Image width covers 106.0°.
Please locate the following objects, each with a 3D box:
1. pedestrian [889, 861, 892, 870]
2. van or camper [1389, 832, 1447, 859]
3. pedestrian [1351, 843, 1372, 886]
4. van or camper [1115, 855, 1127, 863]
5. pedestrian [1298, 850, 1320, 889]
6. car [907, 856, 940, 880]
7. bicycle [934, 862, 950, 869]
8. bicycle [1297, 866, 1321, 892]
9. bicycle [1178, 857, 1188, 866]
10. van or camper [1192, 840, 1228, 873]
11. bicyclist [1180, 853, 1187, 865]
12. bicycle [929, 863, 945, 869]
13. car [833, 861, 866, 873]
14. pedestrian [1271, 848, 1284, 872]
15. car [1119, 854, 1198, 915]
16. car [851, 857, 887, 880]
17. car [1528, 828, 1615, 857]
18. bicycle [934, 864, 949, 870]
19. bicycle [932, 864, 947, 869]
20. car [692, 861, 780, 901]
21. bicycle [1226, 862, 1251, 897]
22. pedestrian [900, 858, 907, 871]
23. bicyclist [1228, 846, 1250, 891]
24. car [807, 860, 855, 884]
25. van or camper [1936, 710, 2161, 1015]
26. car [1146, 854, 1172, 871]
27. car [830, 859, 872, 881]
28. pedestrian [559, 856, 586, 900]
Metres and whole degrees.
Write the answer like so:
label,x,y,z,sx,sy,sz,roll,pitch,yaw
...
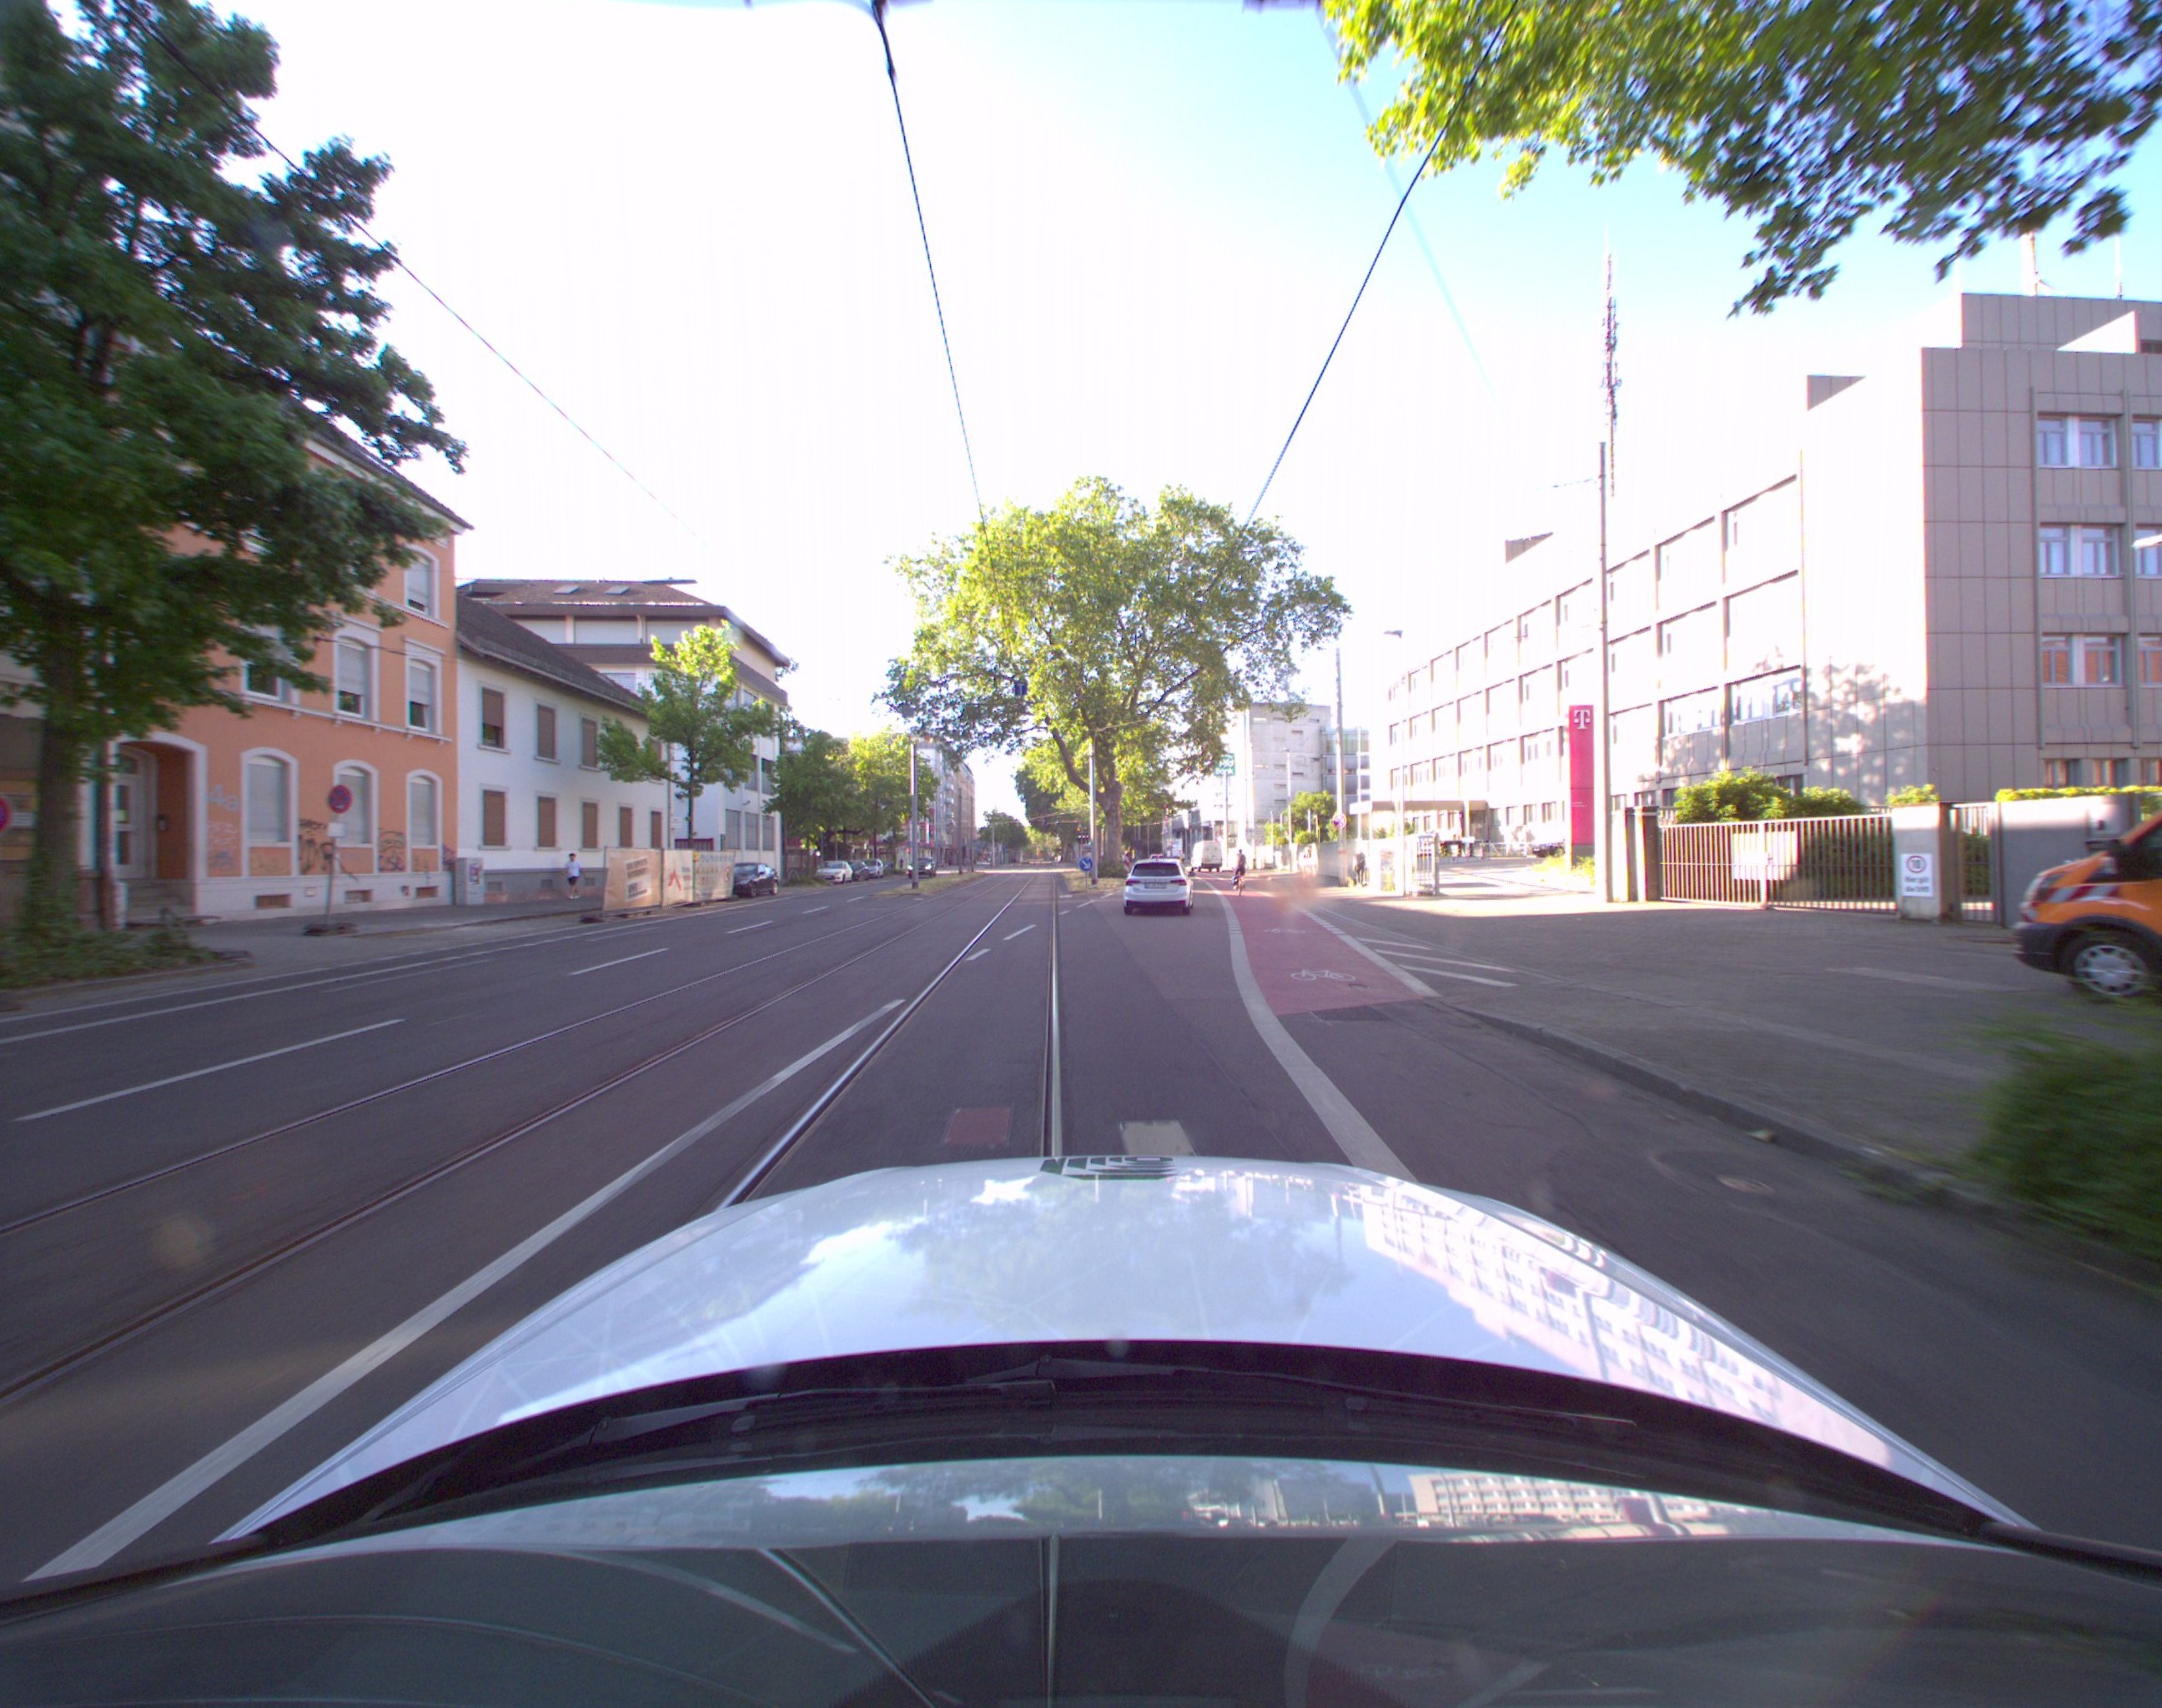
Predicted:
label,x,y,z,sx,sy,sz,roll,pitch,yaw
pedestrian,-25.255,1.502,107.745,0.303,1.214,0.318,-2,0,-8
van or camper,24.934,-0.599,60.449,1.976,1.909,4.994,-2,0,-3
pedestrian,11.207,0.411,32.572,0.691,1.684,0.934,-1,0,14
van or camper,9.724,1.166,198.857,2.142,1.750,4.423,-2,0,-5
pedestrian,9.718,0.645,34.702,0.666,1.619,1.104,-3,-1,6
car,-12.123,1.047,62.947,1.990,1.689,4.303,-1,0,-5
bicycle,-20.543,1.707,120.427,2.166,0.951,0.491,-1,0,-6
bicycle,9.684,1.038,34.582,0.671,1.032,1.905,-3,0,8
bicycle,13.527,0.973,107.742,0.791,1.161,2.496,-1,0,-4
van or camper,11.248,0.196,71.236,2.260,2.733,6.349,1,0,2
bicyclist,13.517,0.651,107.907,0.784,1.635,0.638,-1,0,-5
bicycle,-20.781,1.773,117.651,2.166,0.787,0.639,-1,0,-6
car,-30.062,1.675,105.694,3.993,1.464,1.793,-2,0,-14
pedestrian,14.686,0.432,60.889,0.781,1.748,0.774,-2,0,8
car,2.199,0.752,22.189,1.791,1.501,3.992,0,0,10
car,-16.877,1.137,65.051,1.990,1.689,4.171,-1,0,-5
car,30.356,-0.695,50.493,4.242,1.718,1.991,-1,0,-4
bicycle,-20.469,1.860,119.786,2.166,0.824,0.527,-1,0,-6
bicycle,-20.555,1.827,118.424,2.166,0.787,0.491,-1,0,-6
car,-14.764,1.113,35.135,1.989,1.513,4.719,-1,0,-4
bicycle,5.878,0.913,30.394,0.740,1.224,2.160,1,0,7
pedestrian,-23.209,1.347,106.365,0.708,1.662,1.031,-2,0,-7
bicyclist,5.875,0.535,30.335,0.739,1.669,0.746,1,0,6
car,-15.965,1.124,52.290,1.990,1.471,4.398,-1,0,-5
van or camper,10.096,0.050,5.733,2.030,2.559,5.770,-1,0,-1
car,7.001,0.760,73.397,1.835,1.489,3.713,-1,0,-2
car,-16.366,1.128,58.166,1.990,1.476,4.642,-1,0,-5
pedestrian,-18.480,0.864,29.588,0.593,1.570,0.638,-1,0,-5
